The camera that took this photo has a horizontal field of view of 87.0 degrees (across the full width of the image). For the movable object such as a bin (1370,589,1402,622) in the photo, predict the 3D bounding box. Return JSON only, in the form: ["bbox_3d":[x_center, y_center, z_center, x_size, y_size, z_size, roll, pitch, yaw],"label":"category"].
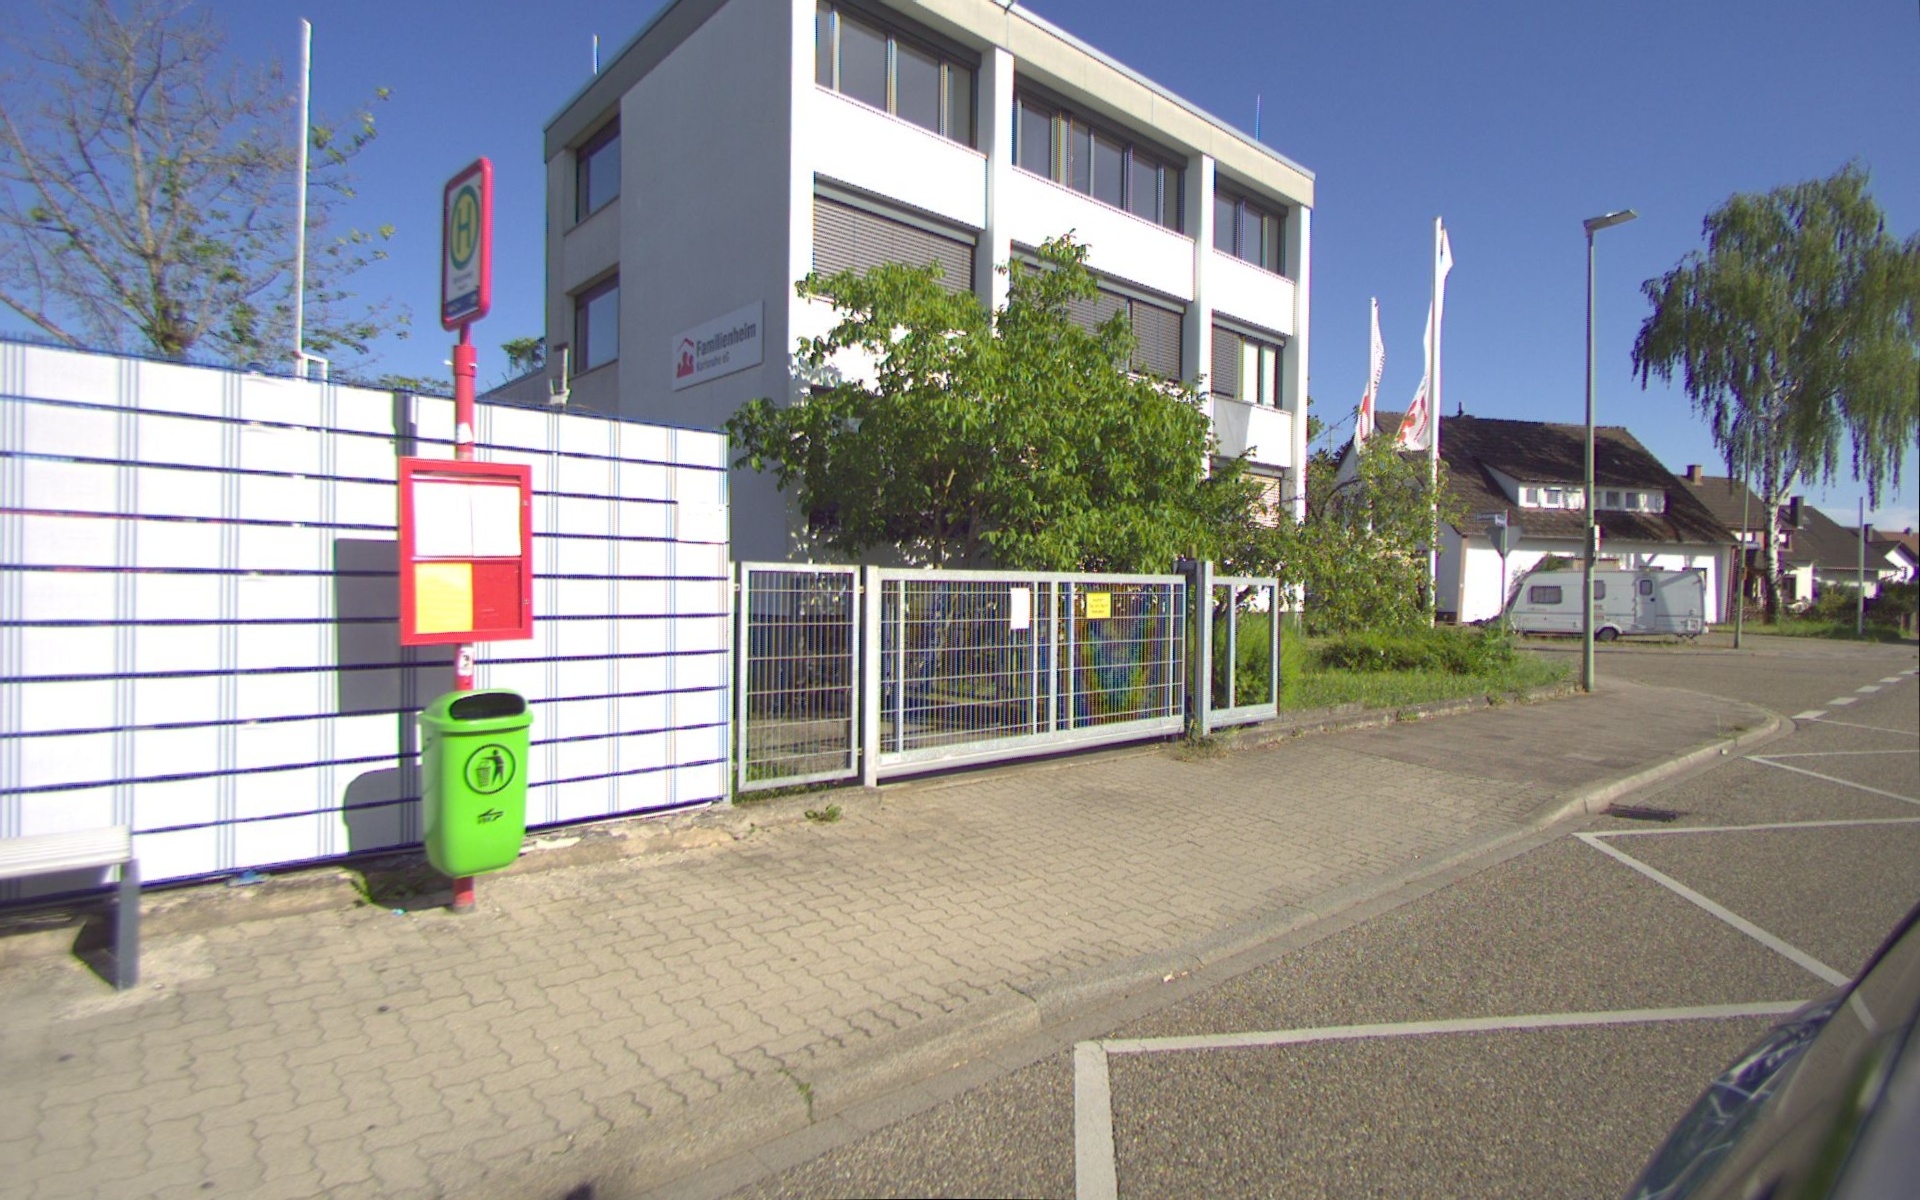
[{"bbox_3d":[18.798,0.237,44.658,0.970,1.454,0.838,1,0,-17],"label":"movable object such as a bin"}]

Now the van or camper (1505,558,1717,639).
[{"bbox_3d":[22.065,-0.108,34.686,5.770,2.573,2.271,1,1,25],"label":"van or camper"}]
